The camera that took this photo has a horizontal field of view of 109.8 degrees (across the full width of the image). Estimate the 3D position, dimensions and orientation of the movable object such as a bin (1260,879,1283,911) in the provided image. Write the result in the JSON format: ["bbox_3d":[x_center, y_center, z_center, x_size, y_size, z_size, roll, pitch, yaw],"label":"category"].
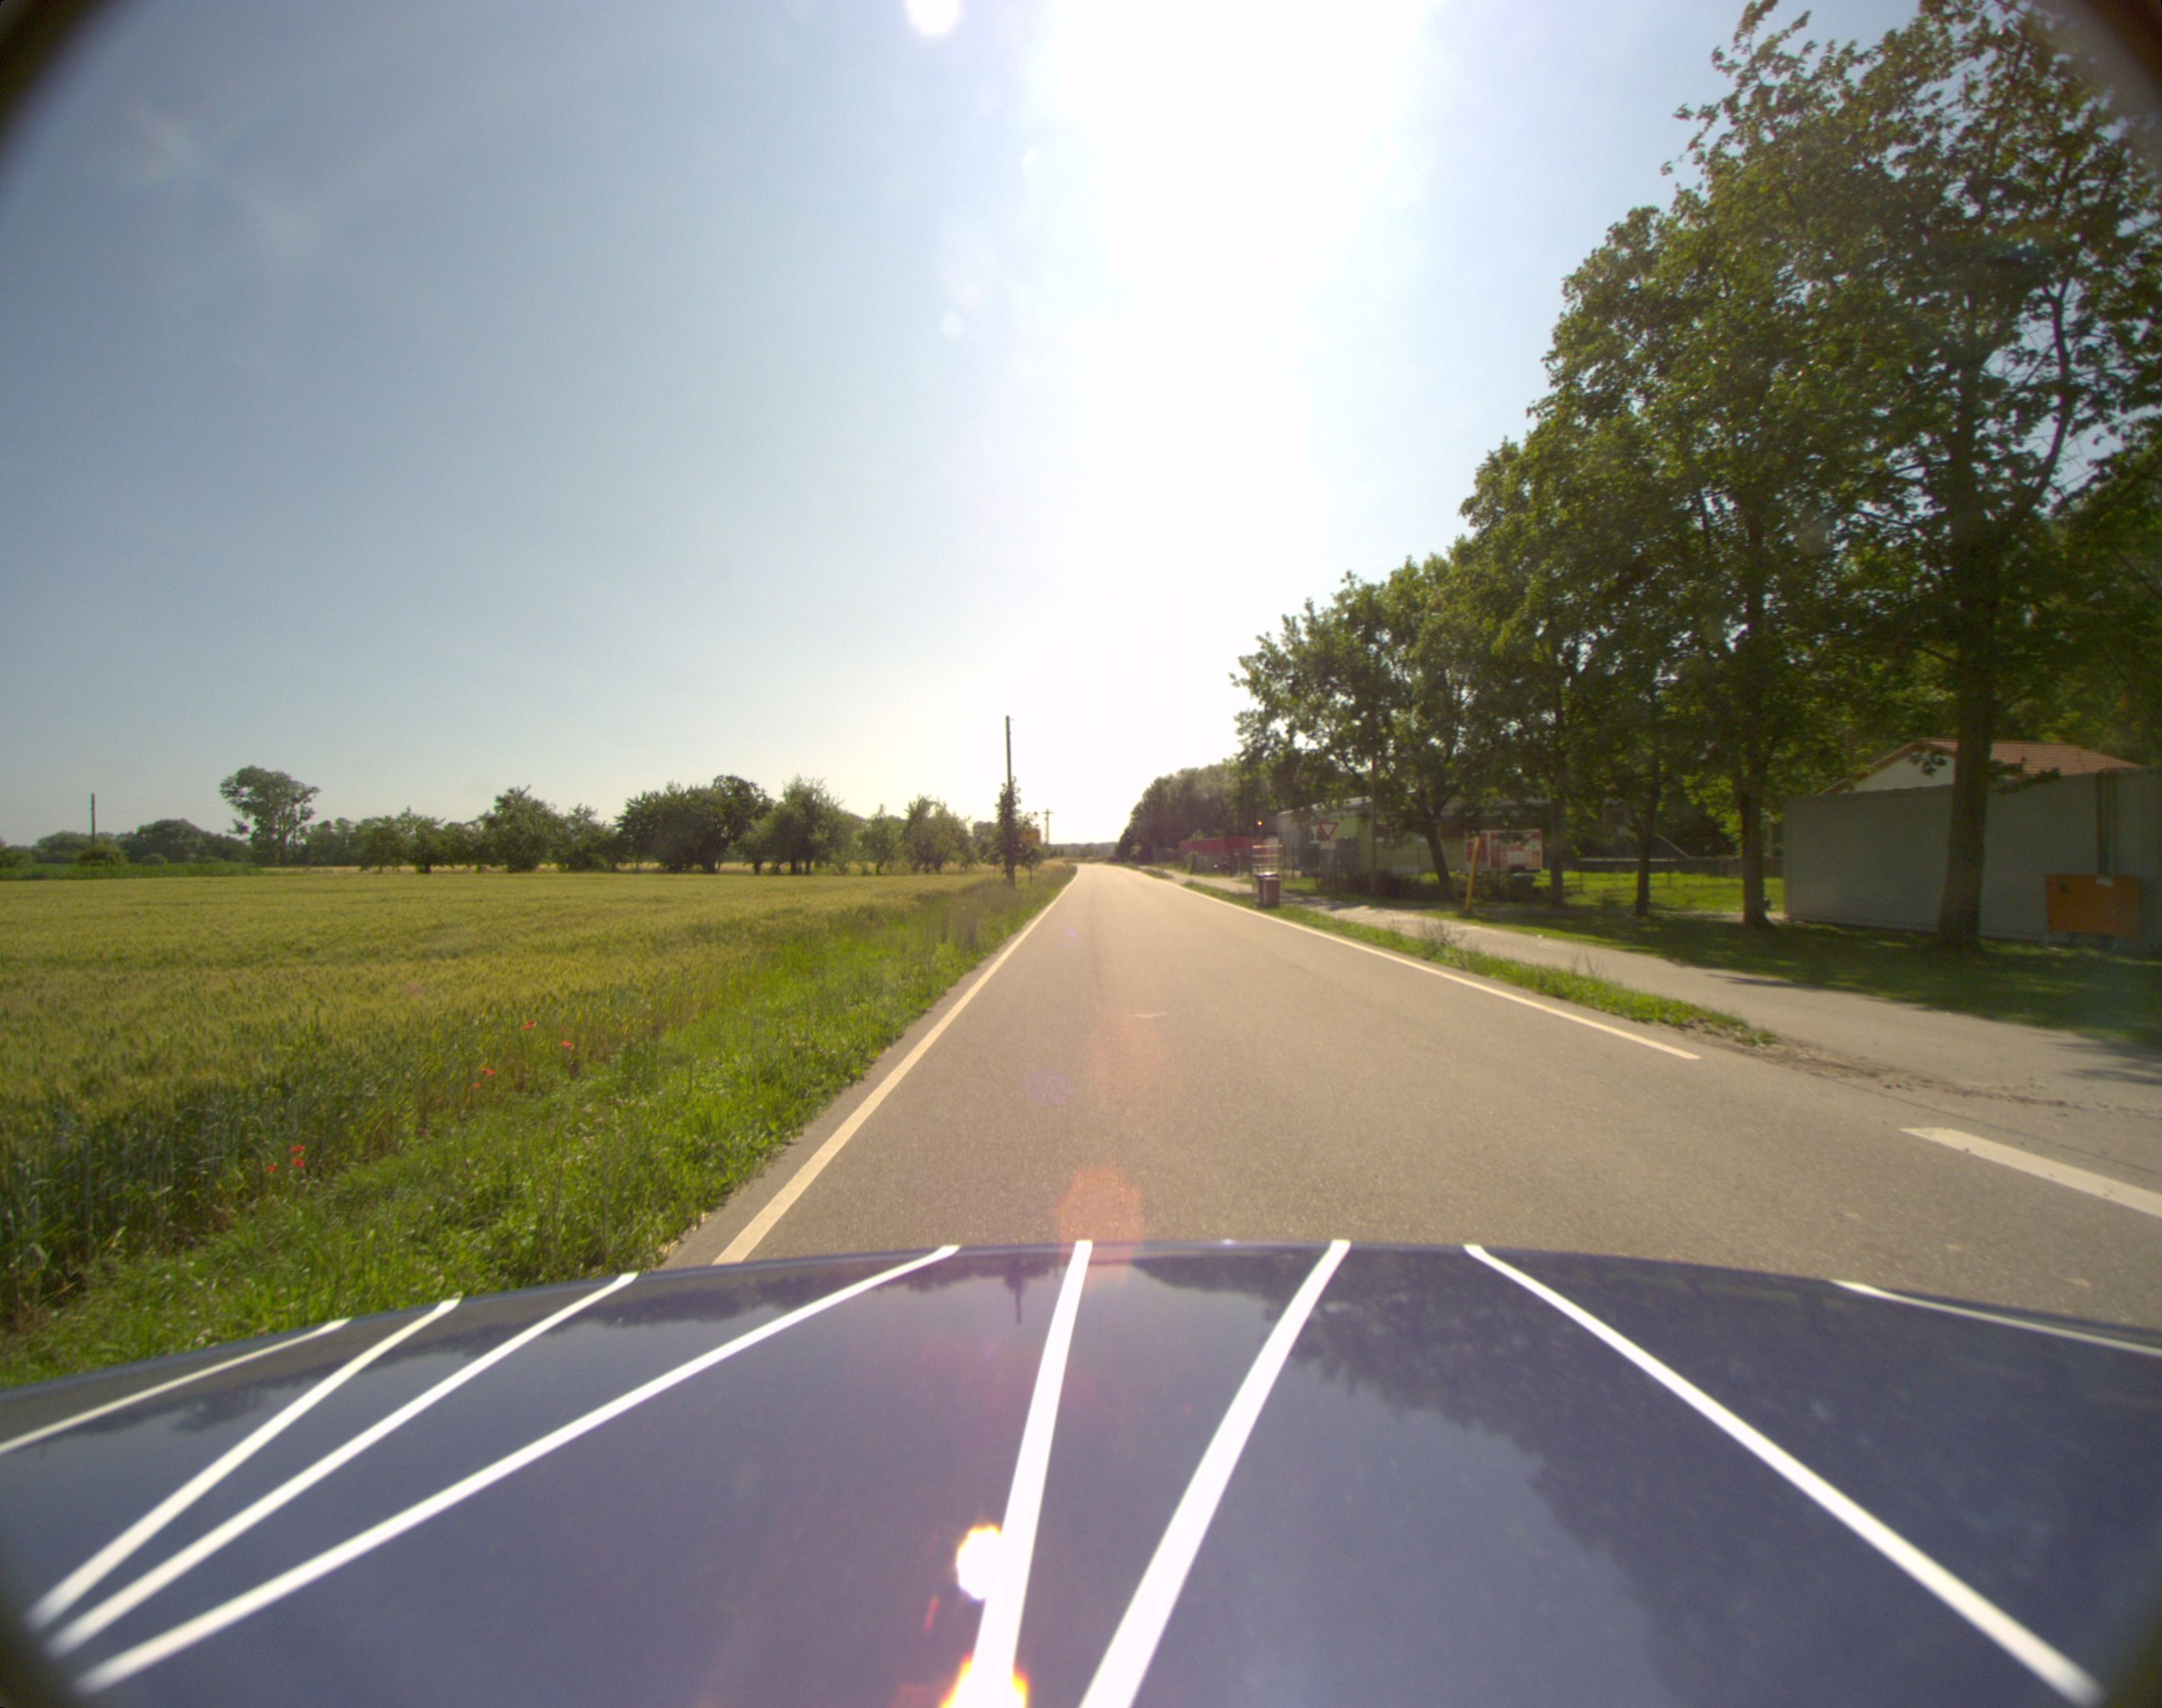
[{"bbox_3d":[5.285,1.132,21.104,0.563,0.872,0.614,0,0,9],"label":"movable object such as a bin"}]

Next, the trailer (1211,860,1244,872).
[{"bbox_3d":[11.050,0.905,57.528,1.635,0.861,3.356,0,0,-5],"label":"trailer"}]

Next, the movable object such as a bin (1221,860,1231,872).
[{"bbox_3d":[10.455,0.886,54.709,0.640,0.871,0.654,0,0,6],"label":"movable object such as a bin"}]

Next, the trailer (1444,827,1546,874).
[{"bbox_3d":[20.397,-0.170,37.469,4.239,2.264,1.826,0,0,-12],"label":"trailer"}]

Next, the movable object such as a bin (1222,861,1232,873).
[{"bbox_3d":[10.371,0.900,54.033,0.640,0.849,0.654,0,0,6],"label":"movable object such as a bin"}]

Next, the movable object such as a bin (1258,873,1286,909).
[{"bbox_3d":[5.460,1.052,21.775,0.700,1.018,0.748,0,0,9],"label":"movable object such as a bin"}]
